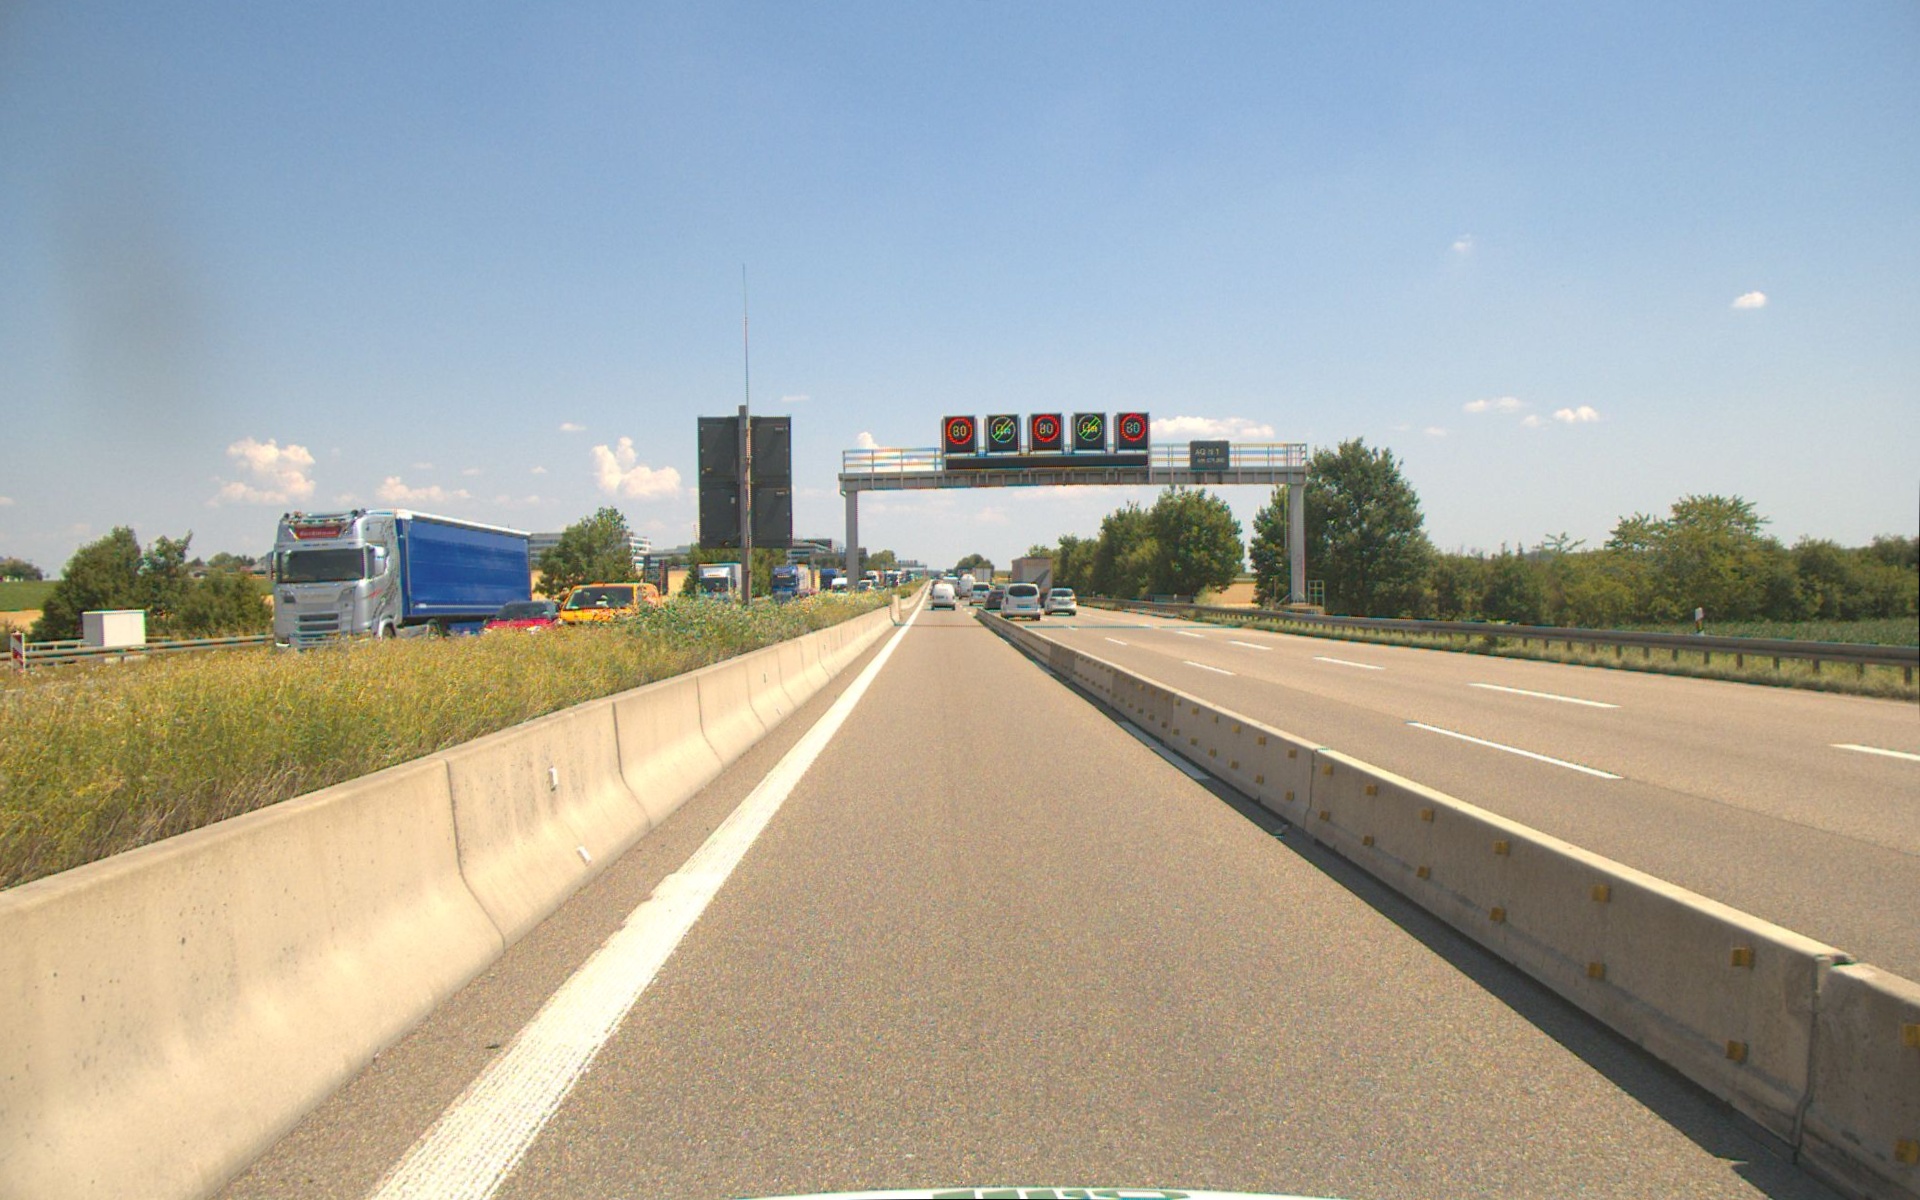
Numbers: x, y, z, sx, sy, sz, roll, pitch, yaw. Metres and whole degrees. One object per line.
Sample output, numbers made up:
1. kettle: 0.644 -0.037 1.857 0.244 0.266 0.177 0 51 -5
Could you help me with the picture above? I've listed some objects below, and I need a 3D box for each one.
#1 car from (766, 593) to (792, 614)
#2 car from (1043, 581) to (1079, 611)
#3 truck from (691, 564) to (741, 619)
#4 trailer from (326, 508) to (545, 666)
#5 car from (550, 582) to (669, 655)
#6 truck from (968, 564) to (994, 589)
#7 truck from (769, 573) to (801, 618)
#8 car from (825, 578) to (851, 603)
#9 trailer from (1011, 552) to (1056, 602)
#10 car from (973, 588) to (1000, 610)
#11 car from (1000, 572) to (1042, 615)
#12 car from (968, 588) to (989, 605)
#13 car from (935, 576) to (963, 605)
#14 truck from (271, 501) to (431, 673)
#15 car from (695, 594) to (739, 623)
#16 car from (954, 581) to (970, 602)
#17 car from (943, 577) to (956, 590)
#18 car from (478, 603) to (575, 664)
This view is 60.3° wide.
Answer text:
1. car: -12.818 0.228 117.300 1.527 1.467 3.836 -1 0 -2
2. car: 6.256 -0.209 102.580 1.953 1.825 3.999 0 0 -1
3. truck: -16.703 -0.595 113.468 2.643 3.650 4.000 -2 0 0
4. trailer: -15.724 -0.388 51.069 2.337 4.158 14.095 -1 0 -1
5. car: -8.223 0.386 39.204 1.856 1.606 4.935 1 1 -1
6. truck: 3.337 -3.698 263.766 3.738 3.973 9.578 -1 0 -1
7. truck: -17.604 -0.426 166.431 2.540 4.312 4.853 -3 0 -1
8. car: -10.297 -0.807 139.894 1.953 1.980 4.793 -1 0 -2
9. trailer: 6.114 -1.877 139.034 3.211 4.036 9.110 0 0 -1
10. car: 1.774 -0.061 111.712 1.737 1.472 3.999 0 0 -1
11. car: 3.146 -0.297 85.432 1.953 2.157 3.999 0 0 -1
12. car: 1.625 -0.325 146.168 1.737 1.472 3.999 0 0 -1
13. car: -0.814 -0.657 119.036 1.953 2.049 3.999 0 0 -1
14. truck: -15.648 -0.333 42.794 2.362 4.158 4.659 -1 0 -1
15. car: -12.405 0.405 84.559 1.796 1.347 4.278 -2 1 -3
16. car: 0.215 -0.951 191.349 1.737 2.434 3.999 0 0 -1
17. car: -1.602 -2.583 256.898 1.953 1.868 3.999 0 0 -1
18. car: -11.791 0.883 45.239 1.555 1.534 4.228 -1 0 -1
